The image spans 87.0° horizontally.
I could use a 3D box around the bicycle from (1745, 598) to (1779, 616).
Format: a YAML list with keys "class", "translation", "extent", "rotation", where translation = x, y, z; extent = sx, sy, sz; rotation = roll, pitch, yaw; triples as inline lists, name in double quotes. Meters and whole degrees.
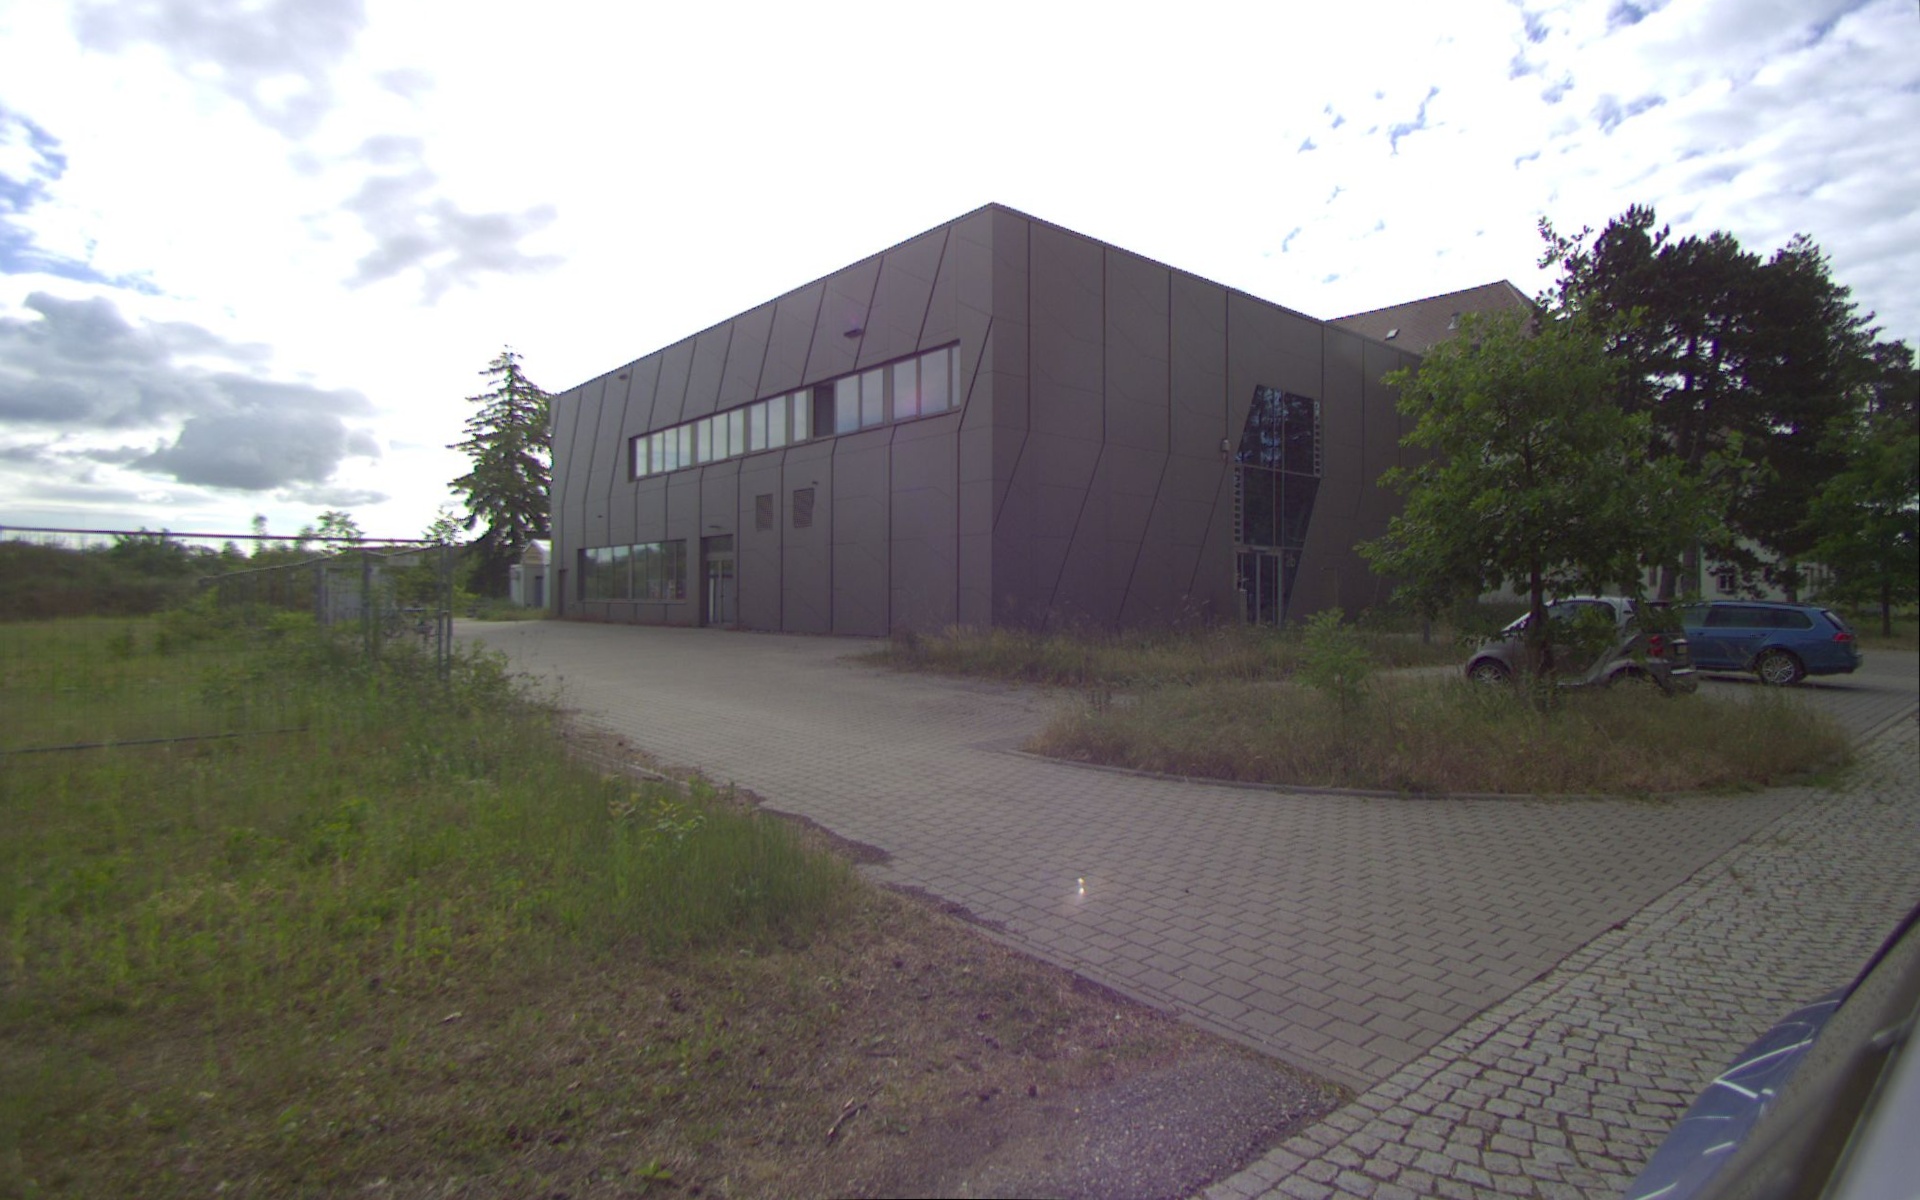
- class: "bicycle"
  translation: [51.043, 0.436, 64.421]
  extent: [0.604, 1.099, 1.652]
  rotation: [0, 0, -44]

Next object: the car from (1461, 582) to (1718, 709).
- class: "car"
  translation: [8.888, 0.558, 14.408]
  extent: [1.623, 1.575, 2.717]
  rotation: [0, 1, -39]

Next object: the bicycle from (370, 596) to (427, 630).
- class: "bicycle"
  translation: [-18.410, 0.410, 33.190]
  extent: [1.624, 1.099, 0.512]
  rotation: [0, 0, -32]

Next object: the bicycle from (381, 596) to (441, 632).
- class: "bicycle"
  translation: [-17.020, 0.425, 31.392]
  extent: [1.624, 1.099, 0.512]
  rotation: [0, 0, -32]

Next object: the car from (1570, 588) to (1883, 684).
- class: "car"
  translation: [14.395, 0.578, 19.218]
  extent: [1.800, 1.493, 4.496]
  rotation: [0, 2, -43]

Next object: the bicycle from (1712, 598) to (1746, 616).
- class: "bicycle"
  translation: [49.837, 0.454, 65.622]
  extent: [0.603, 1.099, 1.655]
  rotation: [0, 0, -38]
